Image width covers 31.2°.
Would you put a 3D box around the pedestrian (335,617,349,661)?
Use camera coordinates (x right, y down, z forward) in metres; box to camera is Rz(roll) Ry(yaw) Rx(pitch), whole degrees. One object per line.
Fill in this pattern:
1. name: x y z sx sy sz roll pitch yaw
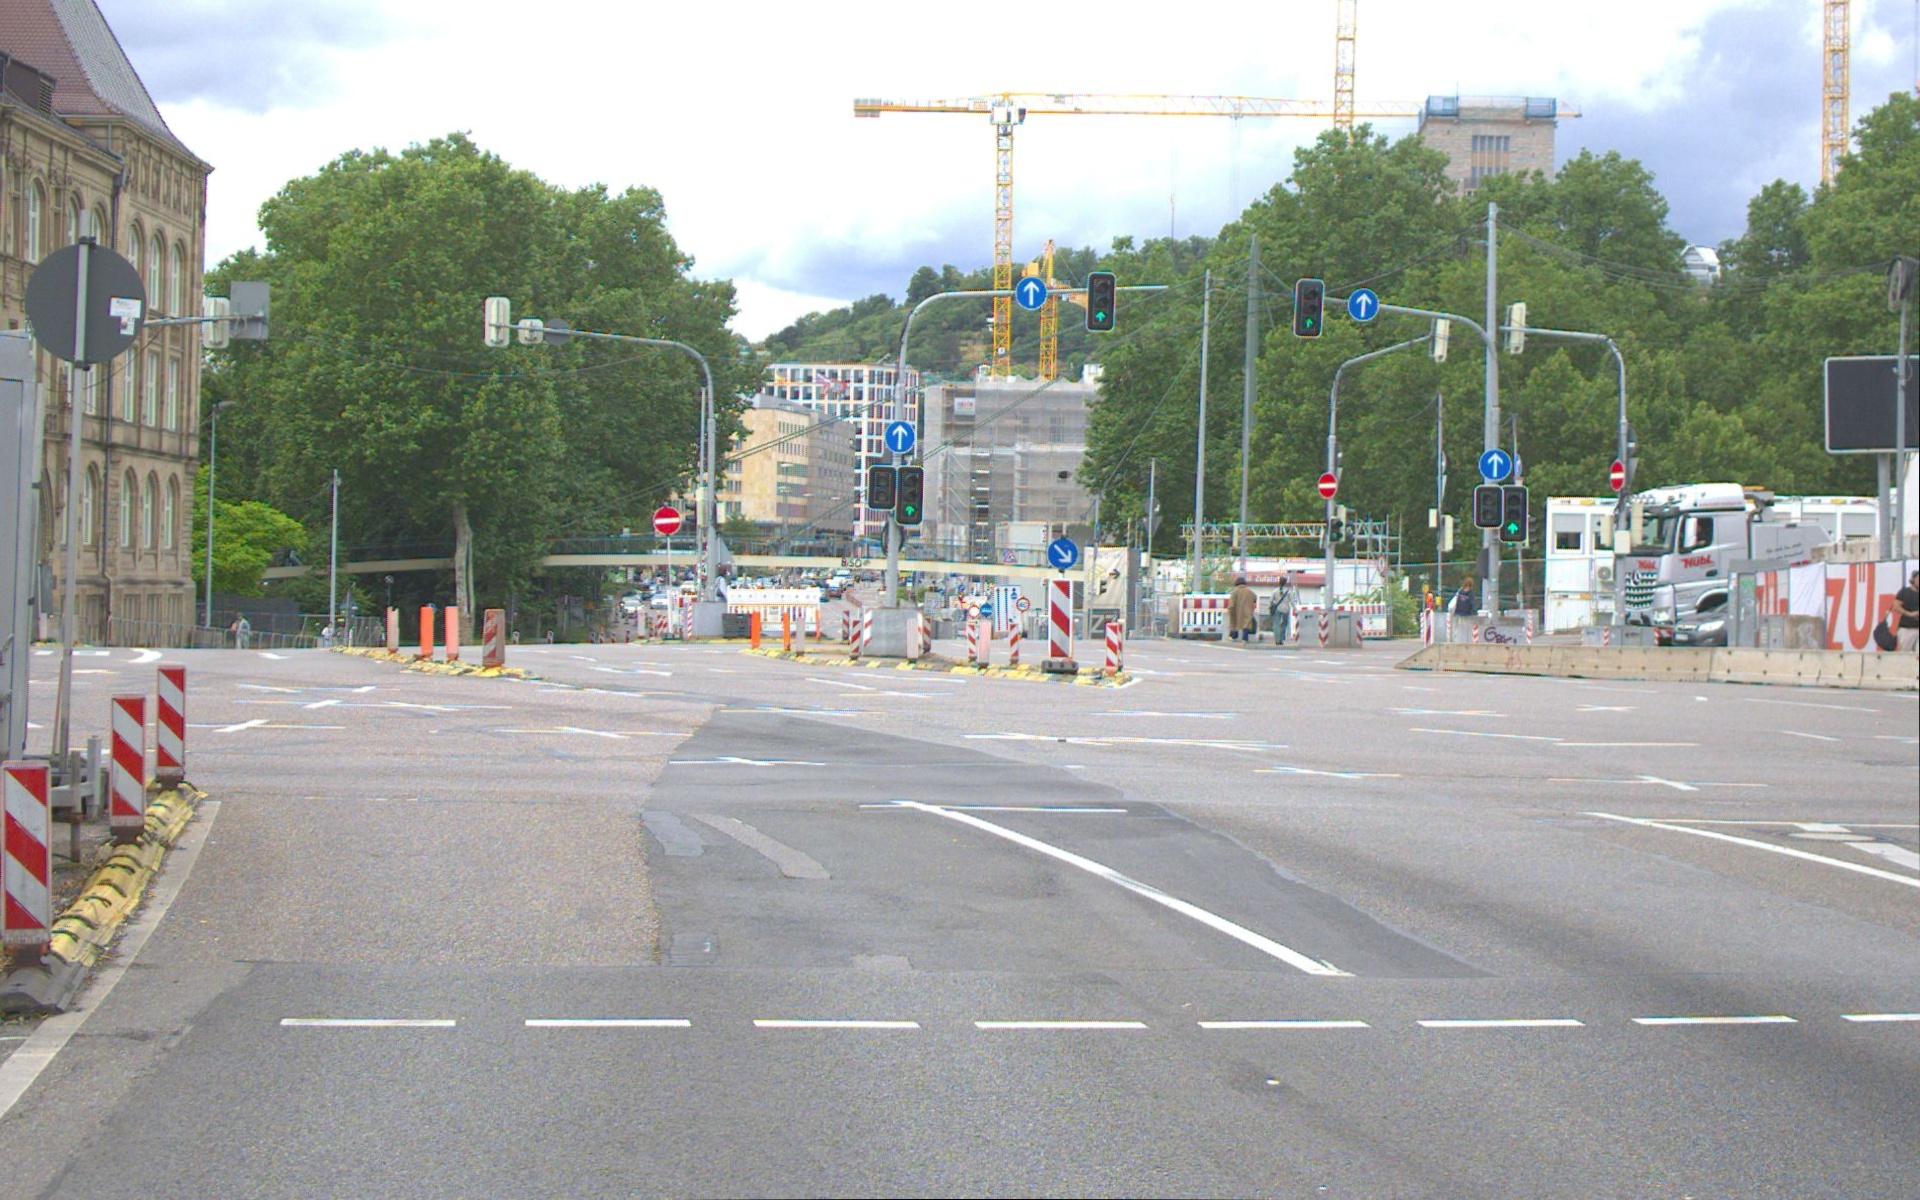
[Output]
1. pedestrian: -28.372 1.802 157.757 0.524 2.007 0.567 1 1 0

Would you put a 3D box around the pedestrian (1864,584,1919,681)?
1. pedestrian: 13.807 0.470 50.141 0.796 1.373 0.905 1 1 -17

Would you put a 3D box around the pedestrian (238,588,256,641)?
1. pedestrian: -27.099 0.539 130.687 0.524 2.007 0.567 1 1 0

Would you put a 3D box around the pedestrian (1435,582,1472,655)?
1. pedestrian: 11.699 0.432 81.472 0.622 1.683 0.710 2 1 29

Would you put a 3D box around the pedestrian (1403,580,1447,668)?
1. pedestrian: 9.126 0.469 67.474 0.729 1.683 0.678 1 1 -1

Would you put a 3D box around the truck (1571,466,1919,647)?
1. truck: 21.350 -0.972 82.010 13.022 4.027 3.952 1 1 -20

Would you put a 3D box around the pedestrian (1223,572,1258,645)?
1. pedestrian: 6.532 0.193 80.084 0.729 1.683 0.678 1 1 -1

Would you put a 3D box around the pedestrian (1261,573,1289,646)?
1. pedestrian: 7.379 0.227 80.552 0.566 1.683 0.472 1 1 -1
